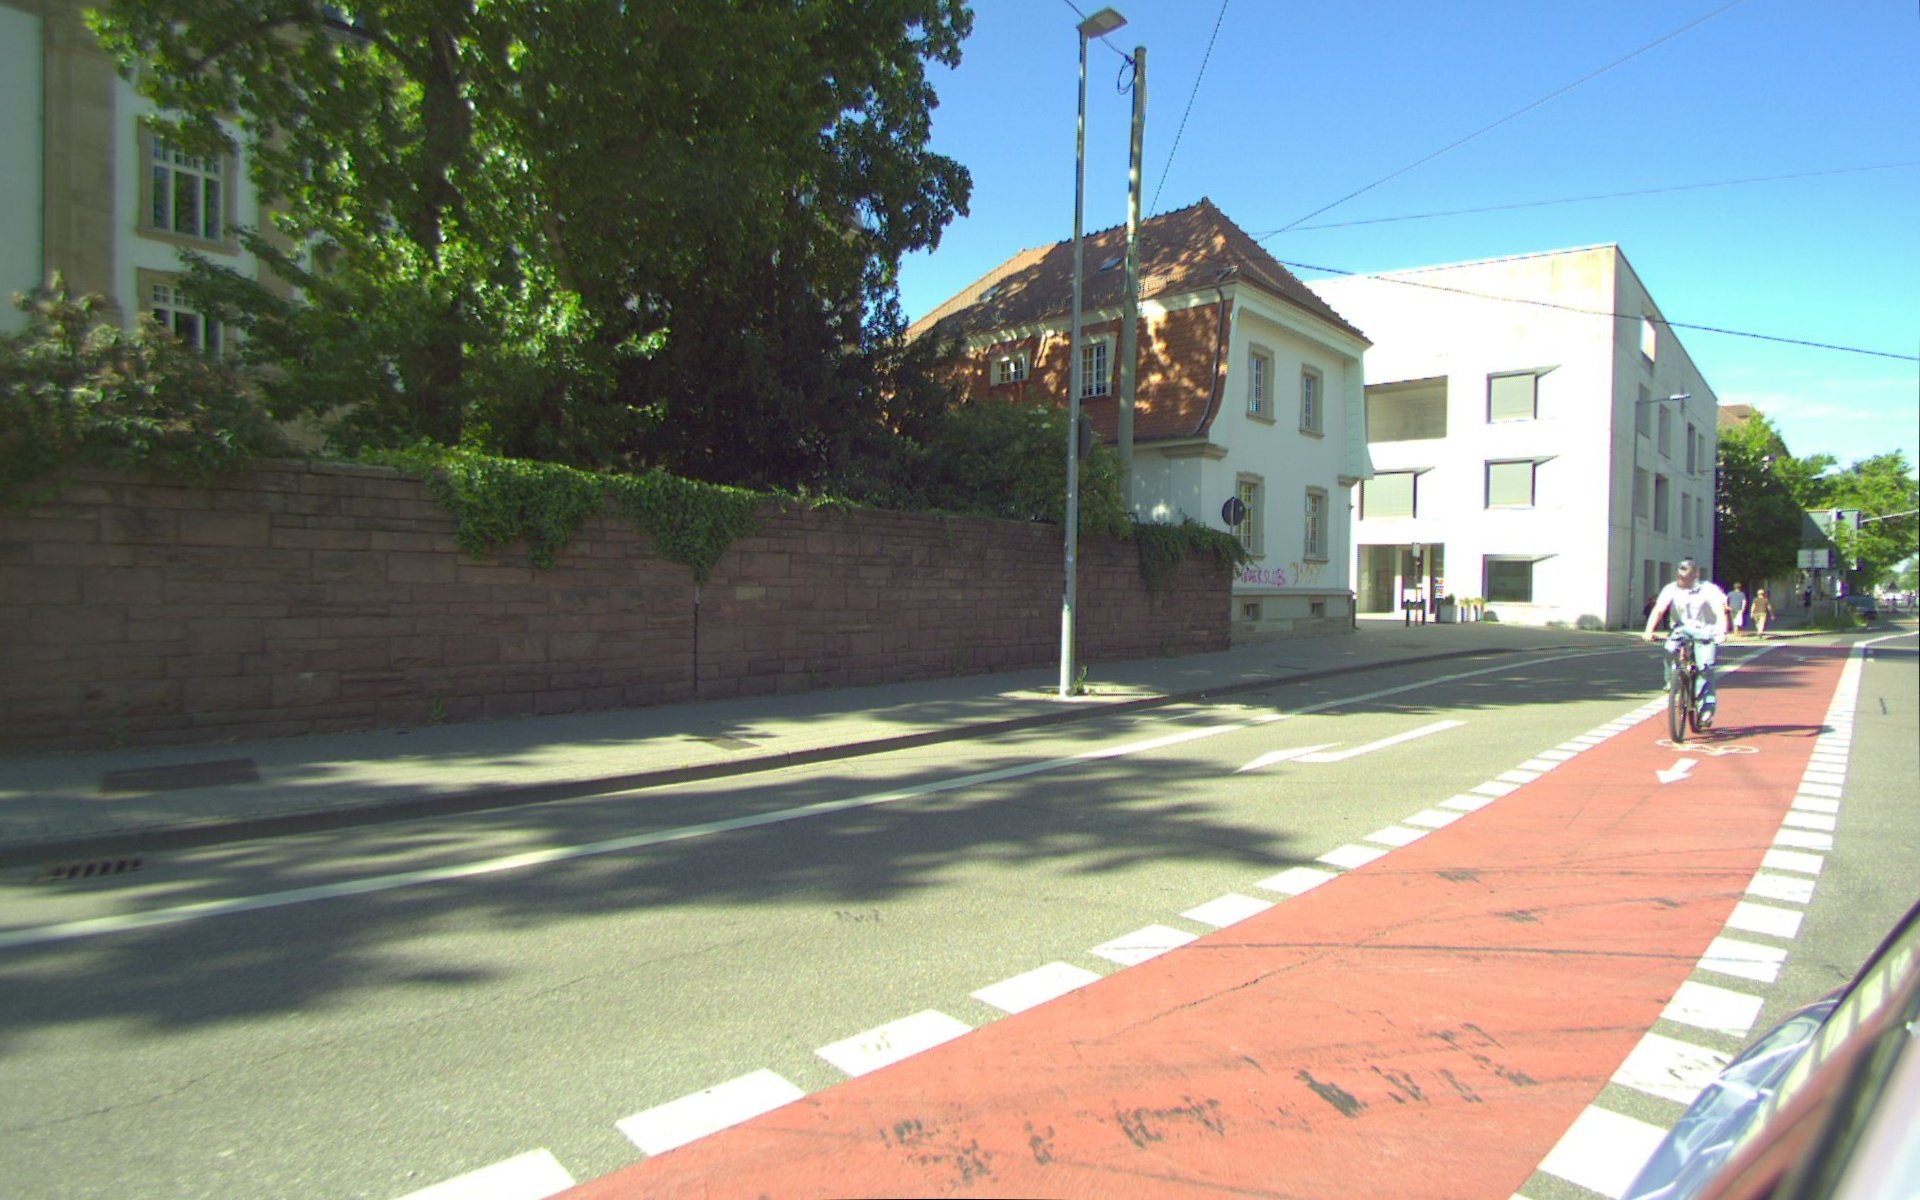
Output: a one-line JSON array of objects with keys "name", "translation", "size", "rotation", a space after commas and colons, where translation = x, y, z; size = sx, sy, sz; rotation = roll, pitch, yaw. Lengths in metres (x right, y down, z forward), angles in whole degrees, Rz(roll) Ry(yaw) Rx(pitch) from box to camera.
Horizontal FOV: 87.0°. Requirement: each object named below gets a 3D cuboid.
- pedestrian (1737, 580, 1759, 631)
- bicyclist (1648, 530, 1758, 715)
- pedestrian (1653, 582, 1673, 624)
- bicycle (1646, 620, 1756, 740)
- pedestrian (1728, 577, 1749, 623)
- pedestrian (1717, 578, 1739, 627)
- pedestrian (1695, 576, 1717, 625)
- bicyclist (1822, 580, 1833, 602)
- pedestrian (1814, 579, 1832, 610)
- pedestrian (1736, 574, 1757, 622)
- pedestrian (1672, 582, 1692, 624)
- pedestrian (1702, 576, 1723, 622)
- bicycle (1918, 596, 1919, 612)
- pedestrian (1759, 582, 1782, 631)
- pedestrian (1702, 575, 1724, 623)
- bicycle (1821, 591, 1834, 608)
[{"name": "pedestrian", "translation": [28.800, 0.182, 36.988], "size": [0.586, 1.828, 0.512], "rotation": [1, 1, 43]}, {"name": "bicyclist", "translation": [7.680, 0.210, 10.457], "size": [0.997, 1.798, 0.750], "rotation": [0, 0, -43]}, {"name": "pedestrian", "translation": [26.764, 0.102, 38.531], "size": [0.533, 1.586, 0.512], "rotation": [1, 1, 43]}, {"name": "bicycle", "translation": [7.690, 0.776, 10.476], "size": [1.799, 1.091, 0.611], "rotation": [0, 1, -44]}, {"name": "pedestrian", "translation": [31.175, -0.019, 40.510], "size": [0.586, 1.828, 0.537], "rotation": [1, 1, 43]}, {"name": "pedestrian", "translation": [28.562, 0.087, 37.642], "size": [0.586, 1.828, 0.537], "rotation": [1, 1, 43]}, {"name": "pedestrian", "translation": [28.096, 0.026, 38.118], "size": [0.586, 1.828, 0.537], "rotation": [1, 1, 43]}, {"name": "bicyclist", "translation": [89.257, -0.924, 104.102], "size": [0.968, 2.234, 0.811], "rotation": [-1, 1, -45]}, {"name": "pedestrian", "translation": [49.274, -0.323, 57.804], "size": [0.916, 1.760, 0.677], "rotation": [0, 1, -45]}, {"name": "pedestrian", "translation": [30.263, -0.081, 38.945], "size": [0.586, 1.828, 0.574], "rotation": [1, 1, 43]}, {"name": "pedestrian", "translation": [27.189, 0.108, 38.085], "size": [0.533, 1.586, 0.512], "rotation": [1, 1, 43]}, {"name": "pedestrian", "translation": [30.537, -0.057, 41.057], "size": [0.586, 1.828, 0.537], "rotation": [1, 1, 43]}, {"name": "bicycle", "translation": [75.312, 0.295, 79.022], "size": [1.644, 1.166, 0.664], "rotation": [-2, 1, -43]}, {"name": "pedestrian", "translation": [29.425, 0.236, 36.745], "size": [0.586, 1.749, 0.512], "rotation": [1, 1, 43]}, {"name": "pedestrian", "translation": [29.150, -0.043, 39.179], "size": [0.586, 1.828, 0.574], "rotation": [1, 1, 43]}, {"name": "bicycle", "translation": [89.291, -0.072, 104.133], "size": [2.137, 1.725, 0.828], "rotation": [-2, 1, -45]}]
